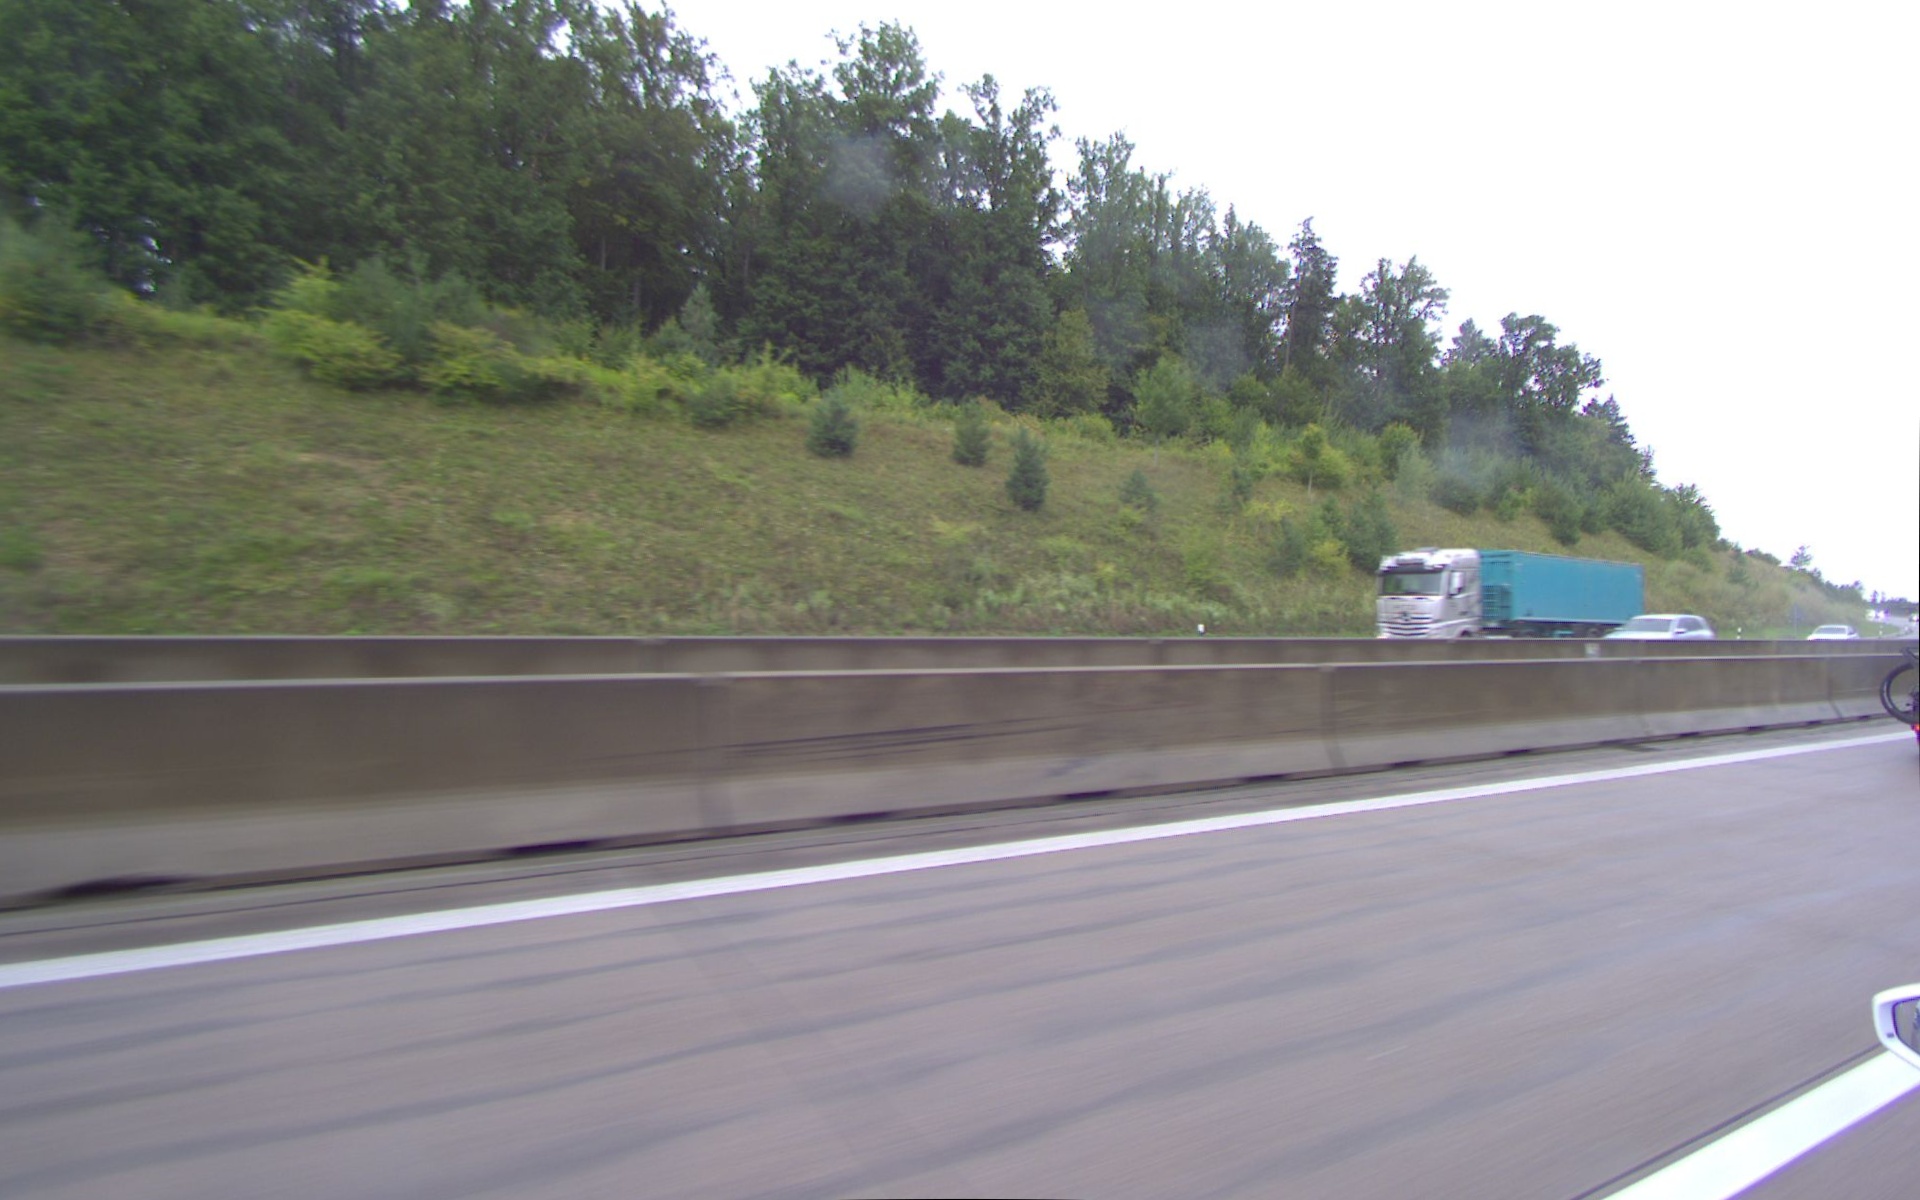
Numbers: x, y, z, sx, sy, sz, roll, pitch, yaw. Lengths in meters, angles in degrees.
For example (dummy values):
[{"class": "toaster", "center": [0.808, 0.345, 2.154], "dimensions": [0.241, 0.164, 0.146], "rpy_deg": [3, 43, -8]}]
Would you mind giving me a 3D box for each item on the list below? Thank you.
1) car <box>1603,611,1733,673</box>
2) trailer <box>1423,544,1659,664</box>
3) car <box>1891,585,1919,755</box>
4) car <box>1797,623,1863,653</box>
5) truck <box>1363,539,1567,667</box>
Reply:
[{"class": "car", "center": [22.249, 1.300, 31.527], "dimensions": [4.707, 1.800, 1.721], "rpy_deg": [1, -1, -33]}, {"class": "trailer", "center": [21.696, 0.251, 37.140], "dimensions": [10.917, 3.941, 2.890], "rpy_deg": [1, 0, -33]}, {"class": "car", "center": [14.047, 0.859, 12.686], "dimensions": [6.095, 1.971, 1.897], "rpy_deg": [1, -1, -33]}, {"class": "car", "center": [48.959, 2.109, 56.492], "dimensions": [4.198, 1.597, 1.721], "rpy_deg": [1, -1, -33]}, {"class": "truck", "center": [17.272, 0.153, 34.216], "dimensions": [7.285, 3.941, 2.890], "rpy_deg": [1, 0, -33]}]
